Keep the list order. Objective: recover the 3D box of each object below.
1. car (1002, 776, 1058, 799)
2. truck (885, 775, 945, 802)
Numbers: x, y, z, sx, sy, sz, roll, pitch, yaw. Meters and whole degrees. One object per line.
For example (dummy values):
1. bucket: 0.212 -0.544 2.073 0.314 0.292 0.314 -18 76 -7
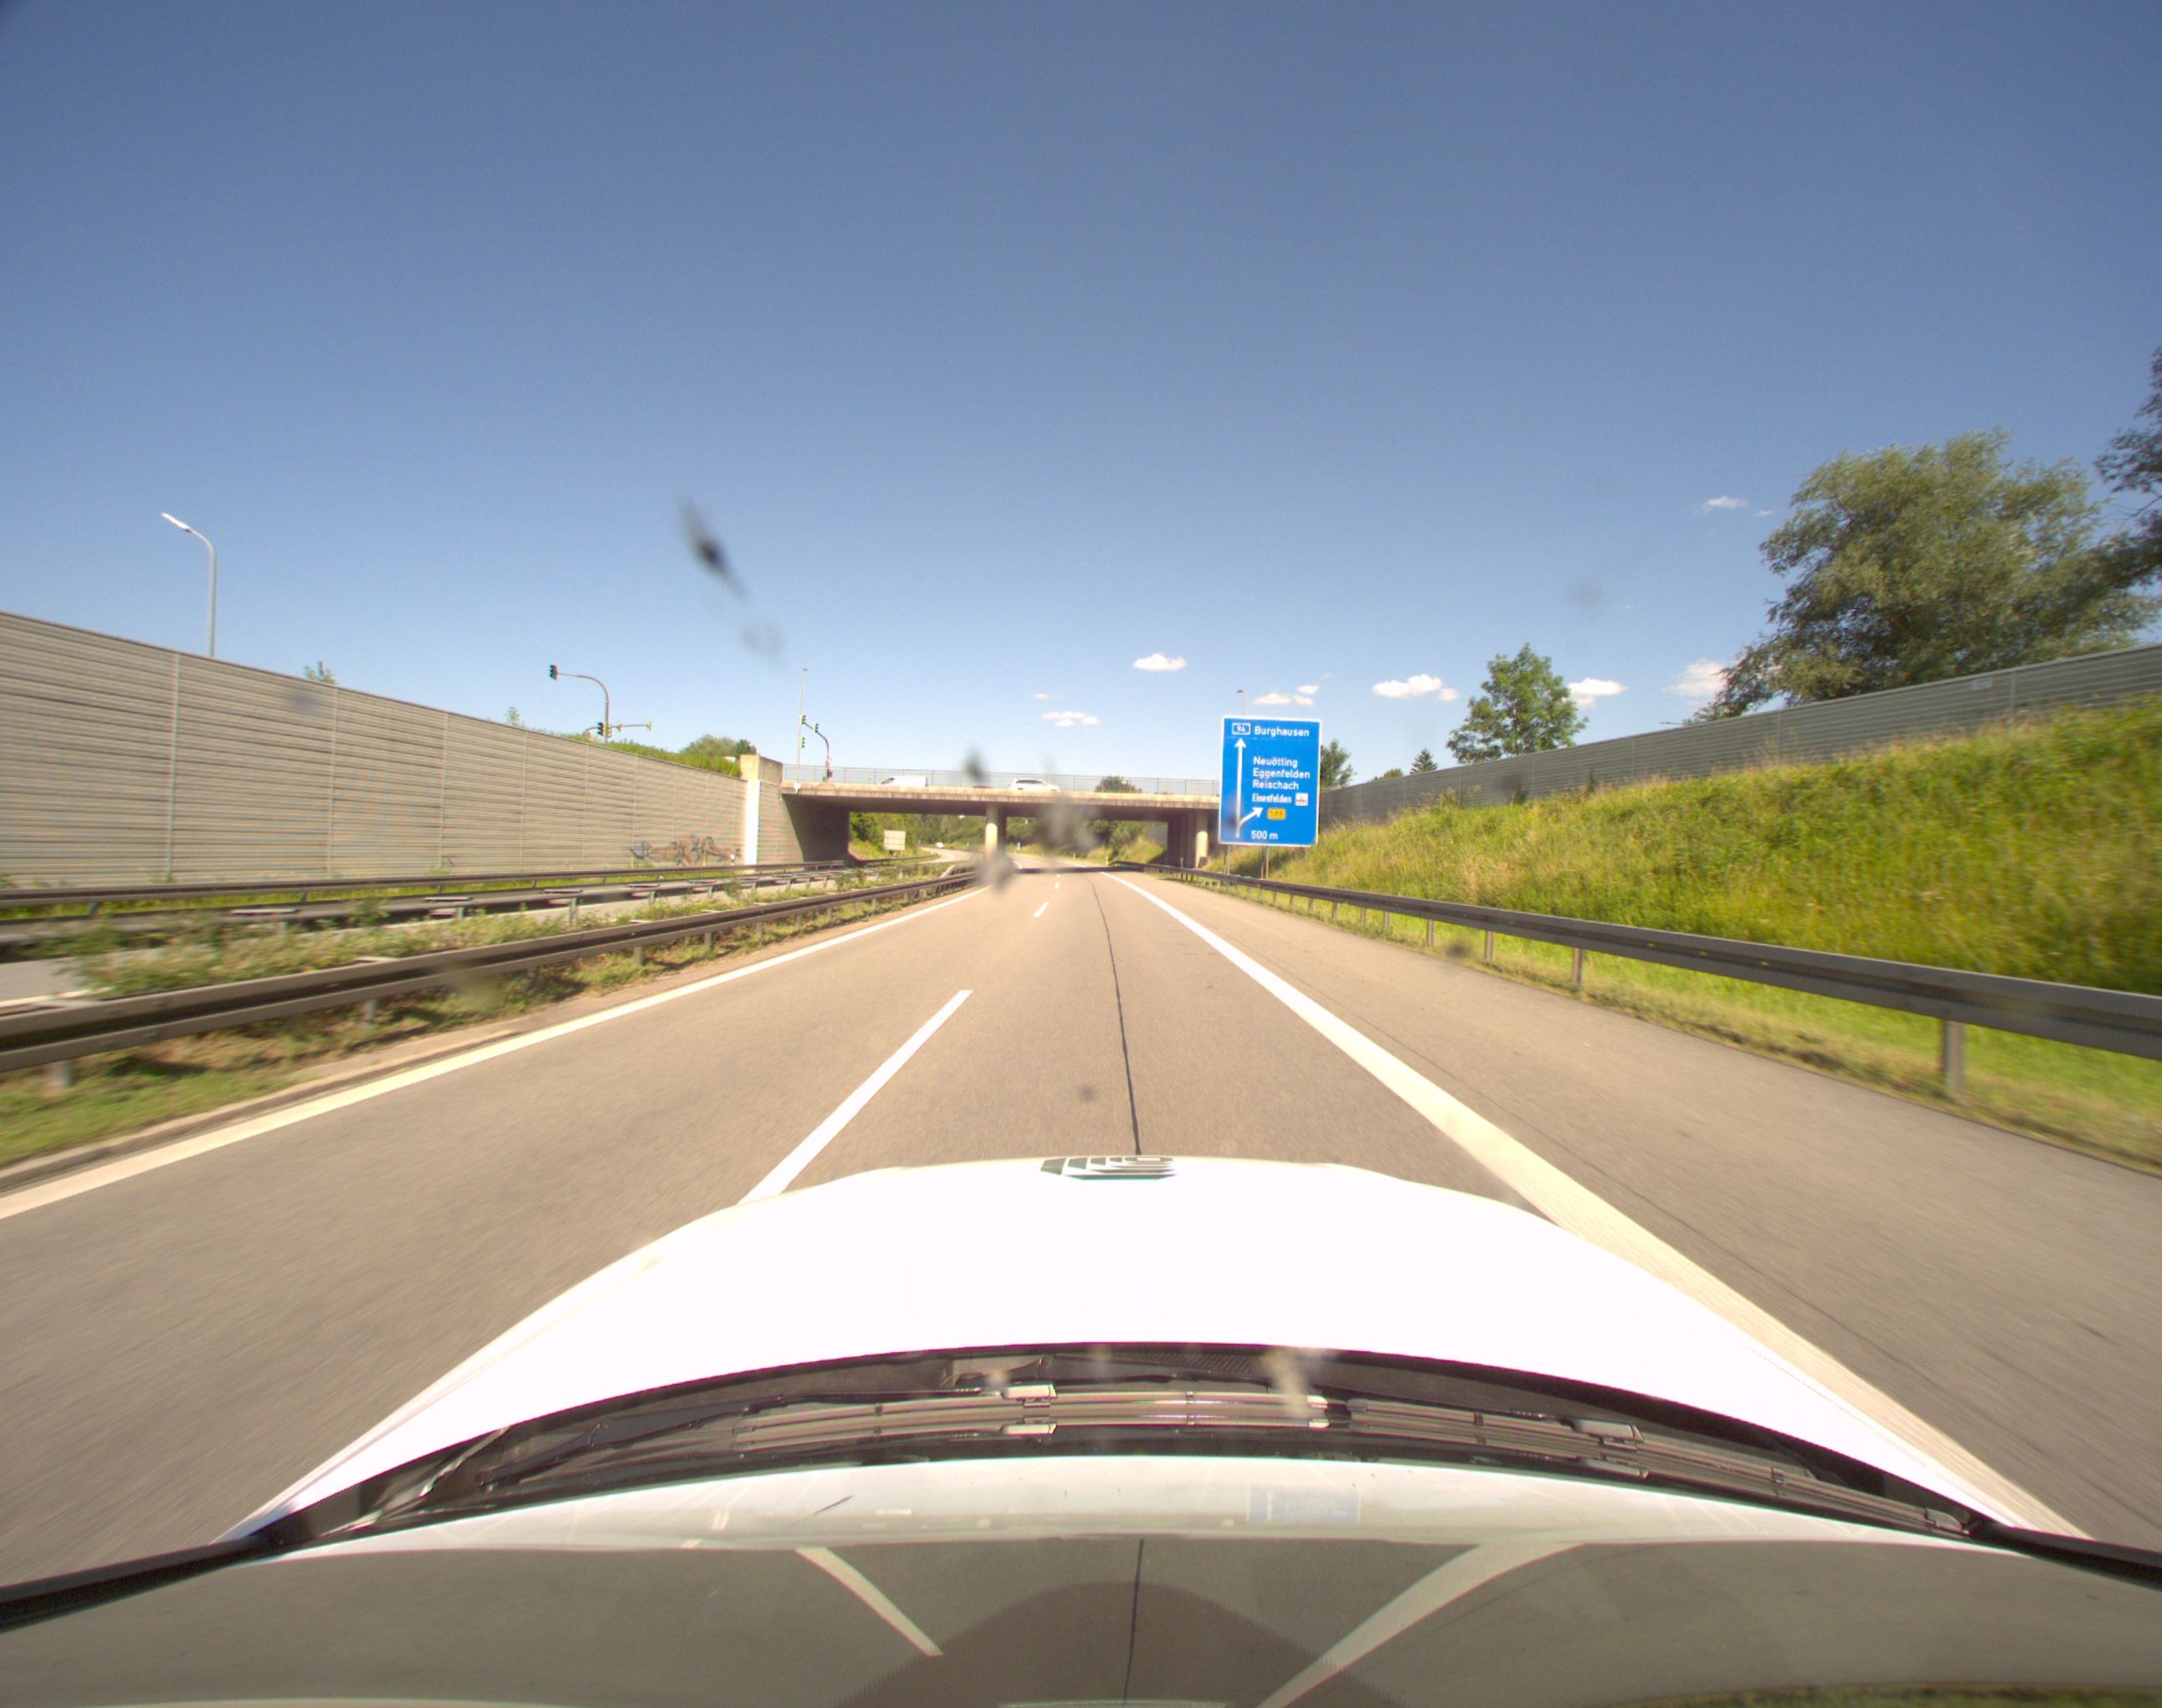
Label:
1. car: -4.120 -5.356 65.686 4.391 1.597 1.998 2 -1 -3
2. truck: -14.379 -5.684 70.834 4.848 2.167 1.996 0 -1 -5
